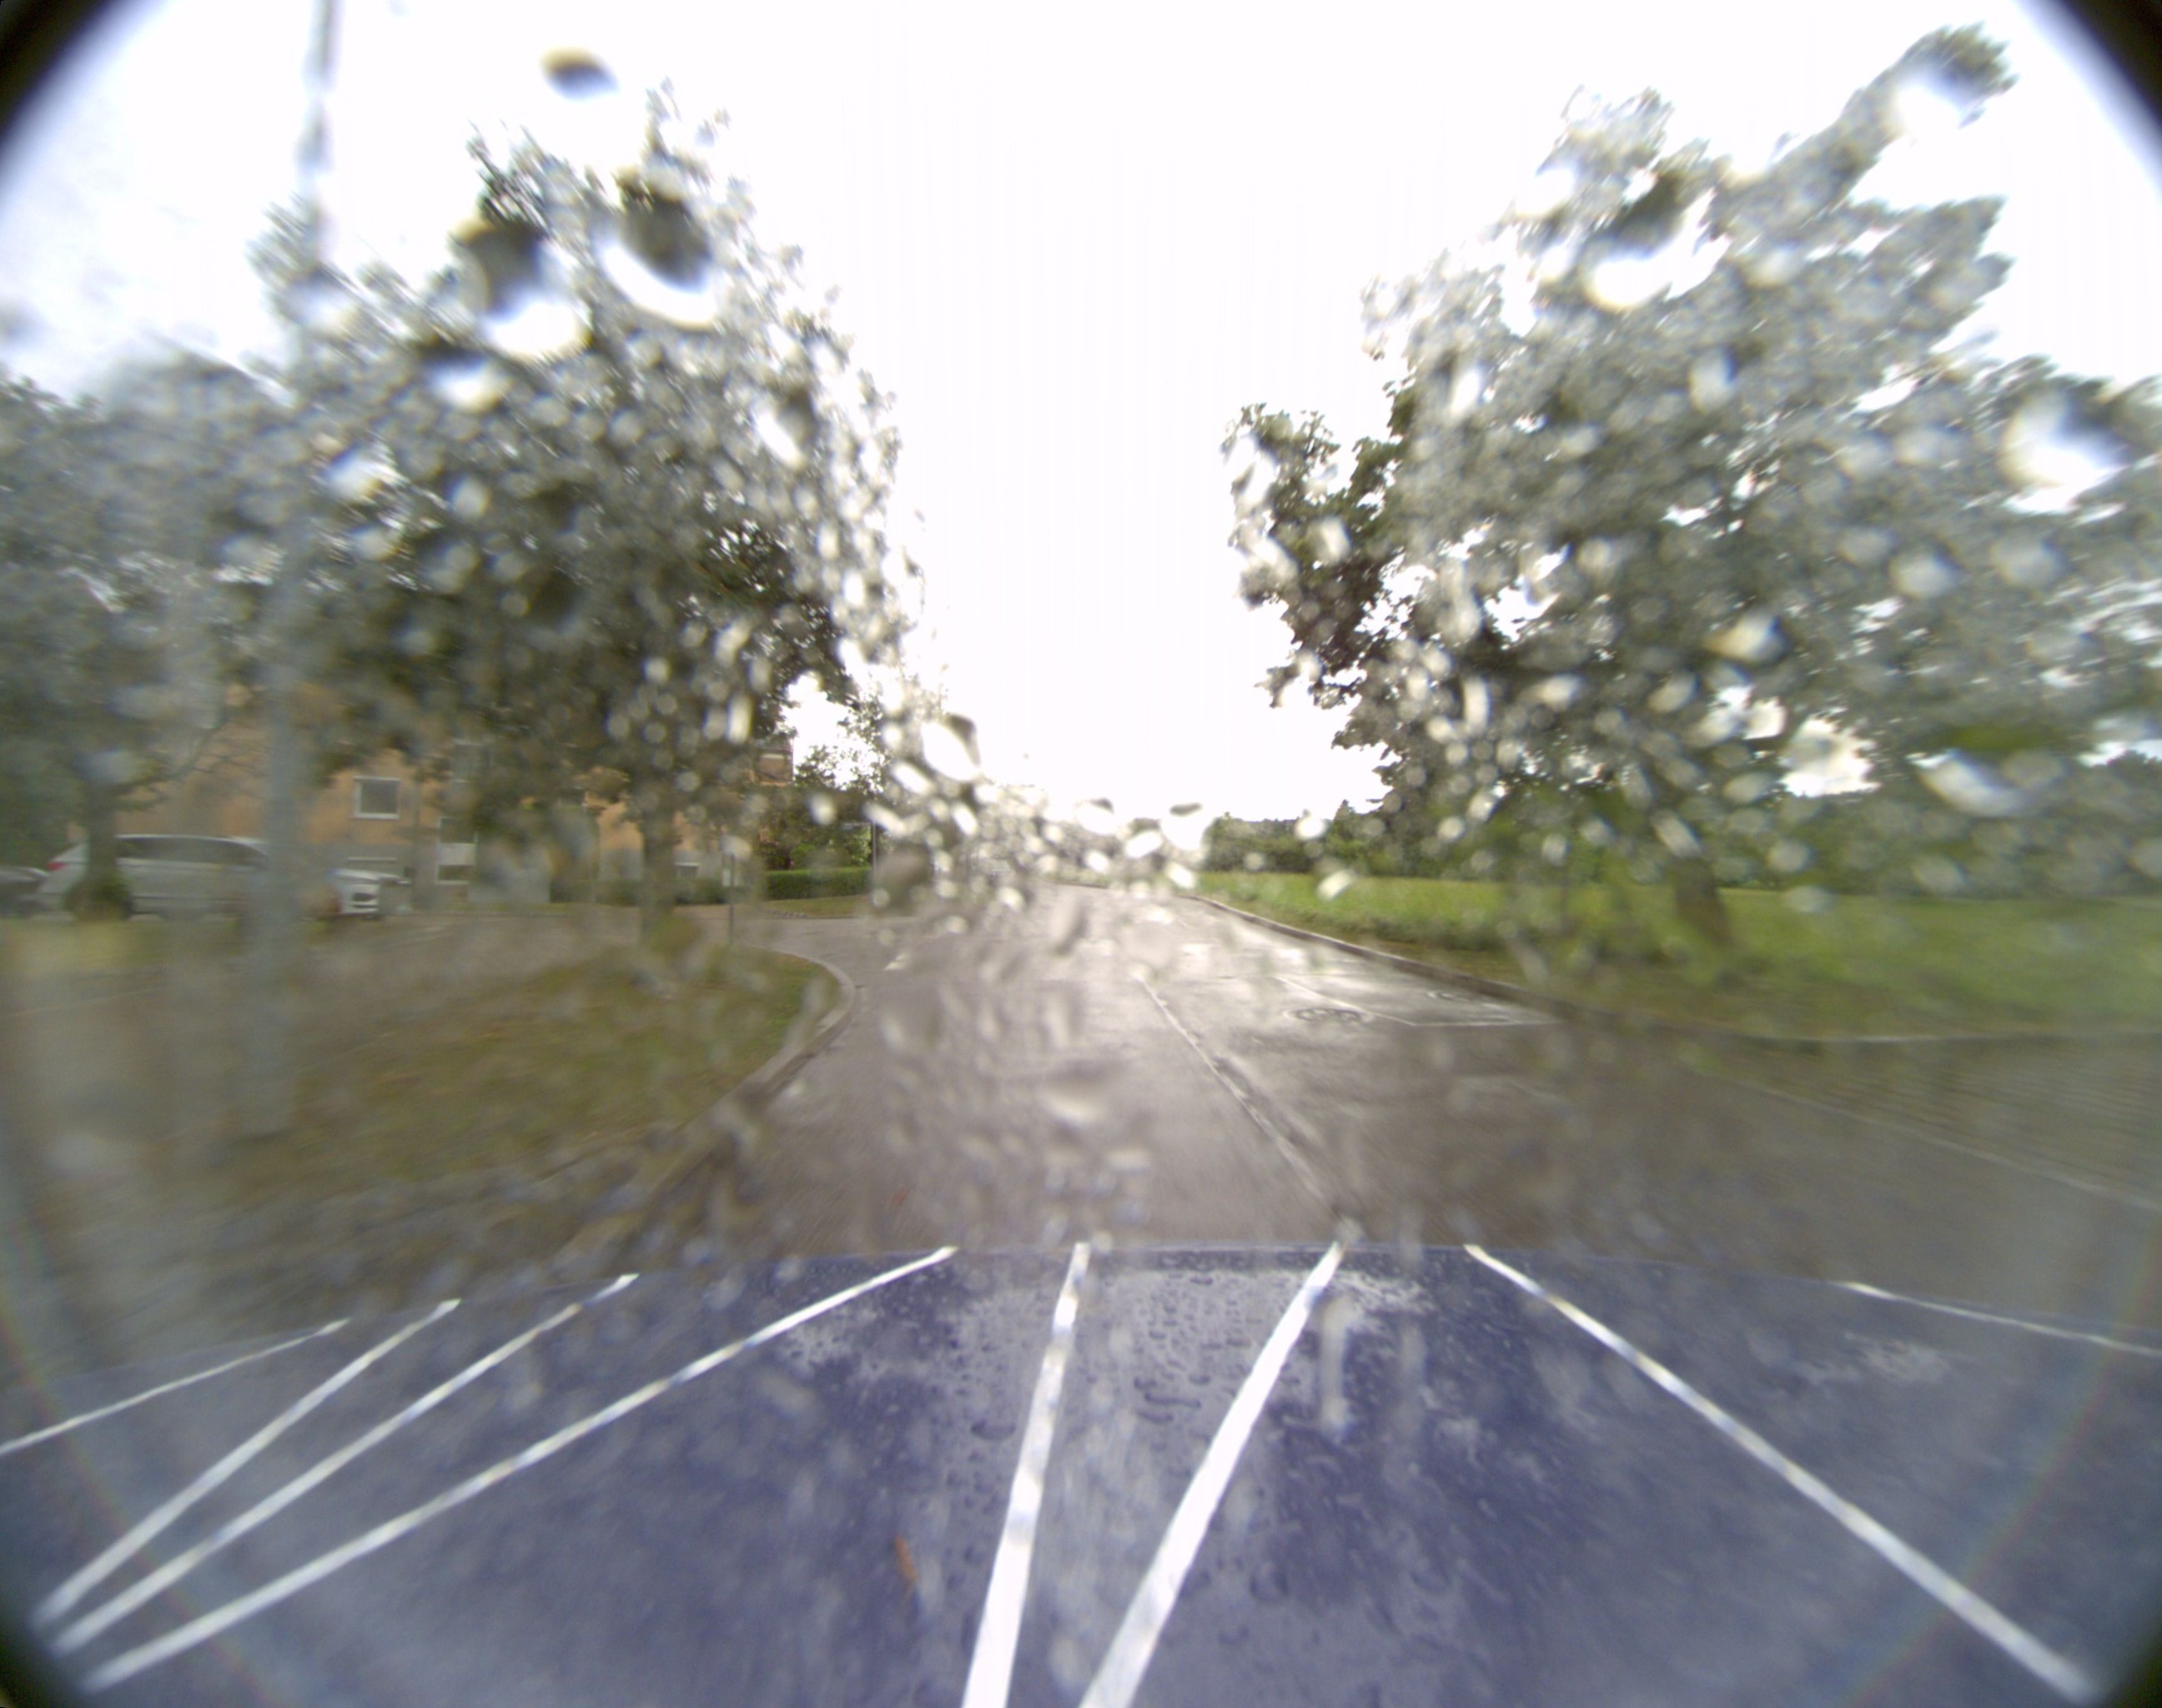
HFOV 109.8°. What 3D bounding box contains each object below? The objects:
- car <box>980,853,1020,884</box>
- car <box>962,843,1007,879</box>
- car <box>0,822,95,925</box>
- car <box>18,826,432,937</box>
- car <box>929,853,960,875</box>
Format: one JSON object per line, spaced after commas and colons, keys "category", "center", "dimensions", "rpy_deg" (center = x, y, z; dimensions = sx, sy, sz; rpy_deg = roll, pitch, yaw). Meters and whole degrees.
{"category": "car", "center": [-5.056, 0.845, 46.725], "dimensions": [1.818, 1.717, 4.646], "rpy_deg": [0, 1, -14]}
{"category": "car", "center": [-6.760, 0.480, 52.493], "dimensions": [2.056, 2.317, 5.398], "rpy_deg": [0, 0, -19]}
{"category": "car", "center": [-20.215, 0.344, 12.771], "dimensions": [4.023, 1.722, 1.953], "rpy_deg": [0, -1, -18]}
{"category": "car", "center": [-15.356, 0.514, 14.015], "dimensions": [4.718, 1.804, 1.944], "rpy_deg": [2, 0, -17]}
{"category": "car", "center": [-12.004, 0.824, 66.718], "dimensions": [1.827, 1.775, 3.811], "rpy_deg": [0, 1, -23]}
